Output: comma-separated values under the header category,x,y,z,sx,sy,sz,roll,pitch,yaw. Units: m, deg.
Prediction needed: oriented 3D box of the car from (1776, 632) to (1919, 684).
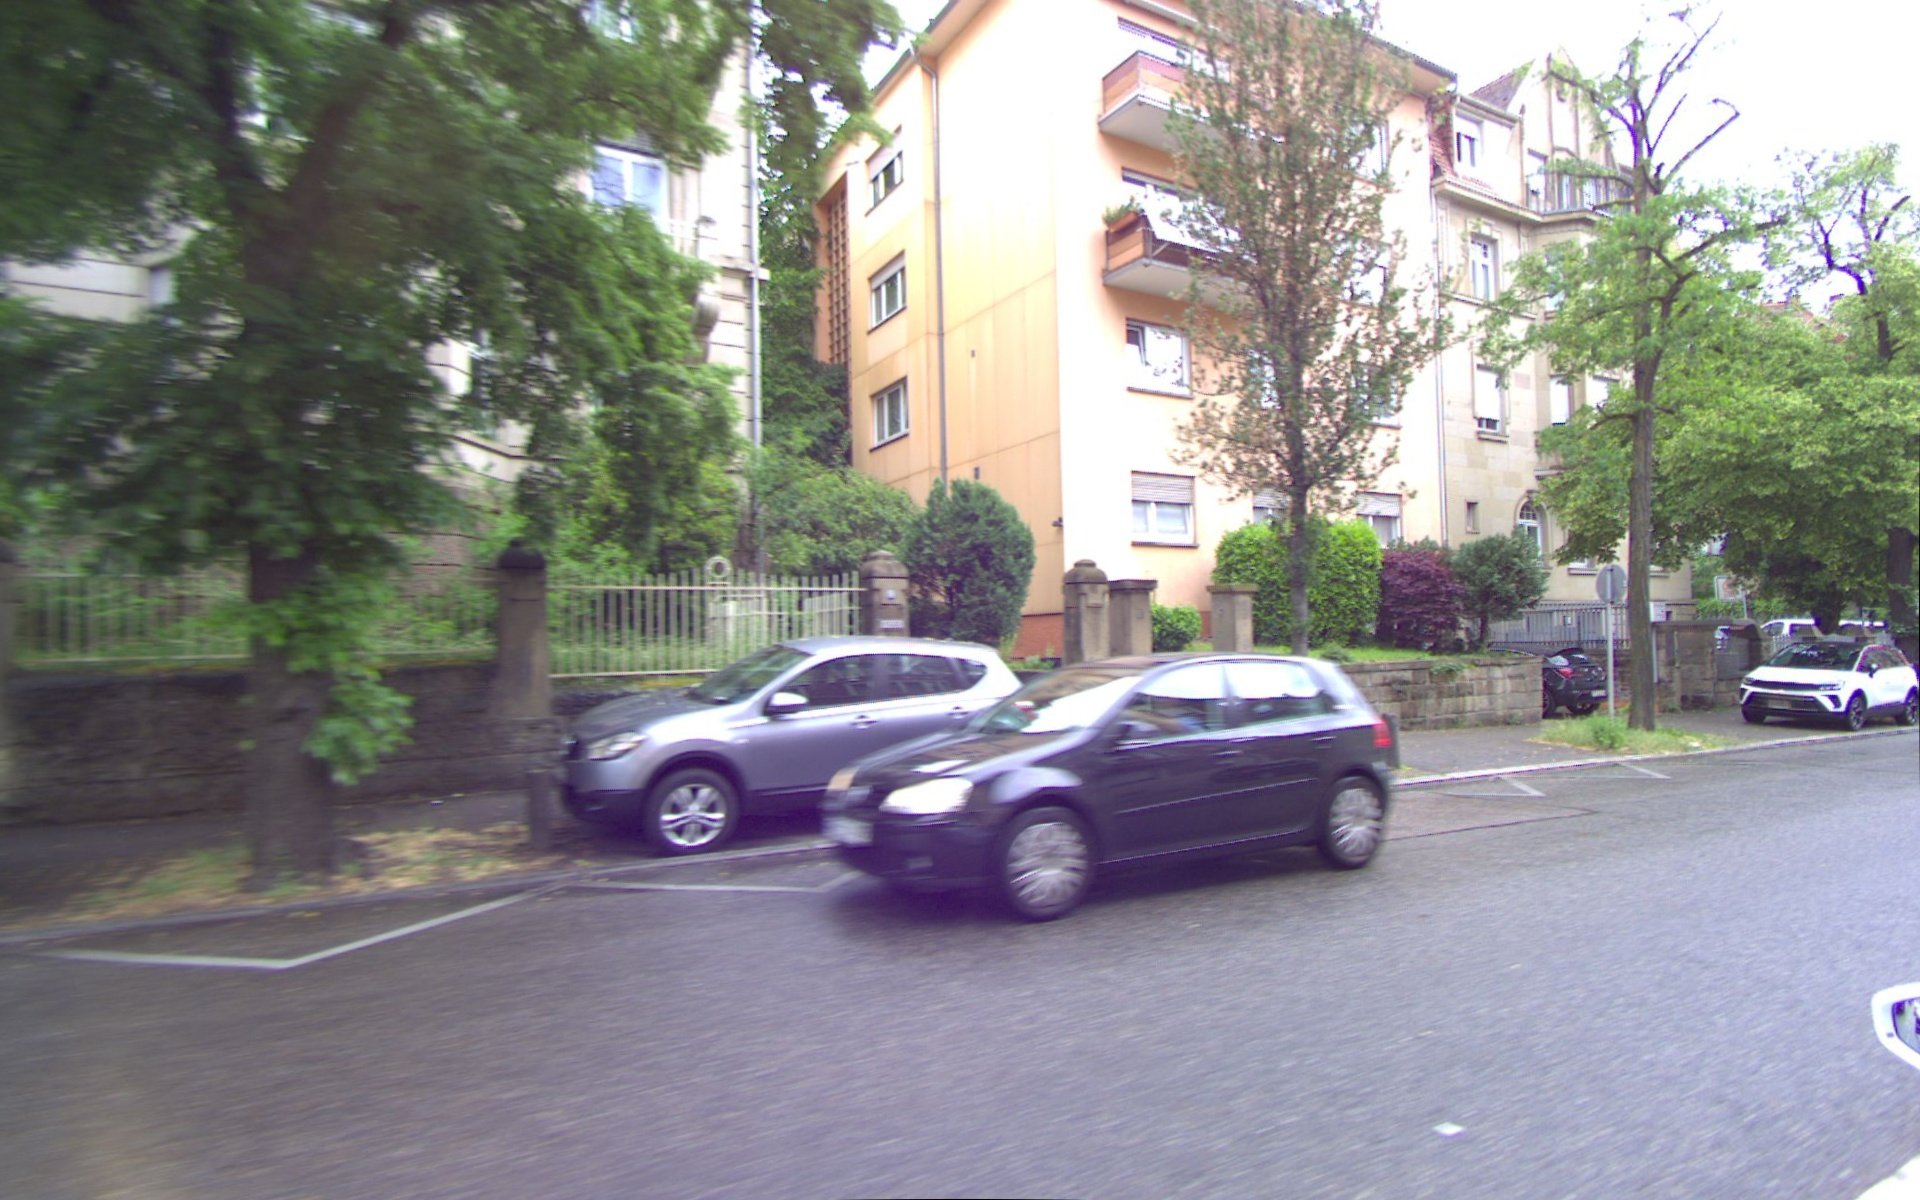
category,x,y,z,sx,sy,sz,roll,pitch,yaw
car,29.781,1.910,33.252,1.801,1.427,3.851,4,-1,-24

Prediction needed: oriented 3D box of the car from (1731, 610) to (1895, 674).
category,x,y,z,sx,sy,sz,roll,pitch,yaw
car,34.166,1.624,40.436,1.992,2.076,4.662,1,3,-15

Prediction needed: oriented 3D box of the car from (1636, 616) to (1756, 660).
category,x,y,z,sx,sy,sz,roll,pitch,yaw
car,33.488,1.688,45.897,2.072,1.535,4.440,0,3,-2

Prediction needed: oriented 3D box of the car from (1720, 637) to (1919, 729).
category,x,y,z,sx,sy,sz,roll,pitch,yaw
car,16.937,1.601,19.698,4.251,1.579,1.733,3,-2,-30

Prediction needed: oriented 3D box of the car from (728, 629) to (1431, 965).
category,x,y,z,sx,sy,sz,roll,pitch,yaw
car,0.928,1.012,6.730,4.537,1.537,1.764,0,-2,-31

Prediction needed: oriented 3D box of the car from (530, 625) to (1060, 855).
category,x,y,z,sx,sy,sz,roll,pitch,yaw
car,-1.376,1.095,8.846,4.250,1.579,1.734,3,-2,-29

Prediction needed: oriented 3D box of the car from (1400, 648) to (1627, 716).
category,x,y,z,sx,sy,sz,roll,pitch,yaw
car,11.942,1.714,21.921,1.816,1.344,3.968,1,-3,-31
